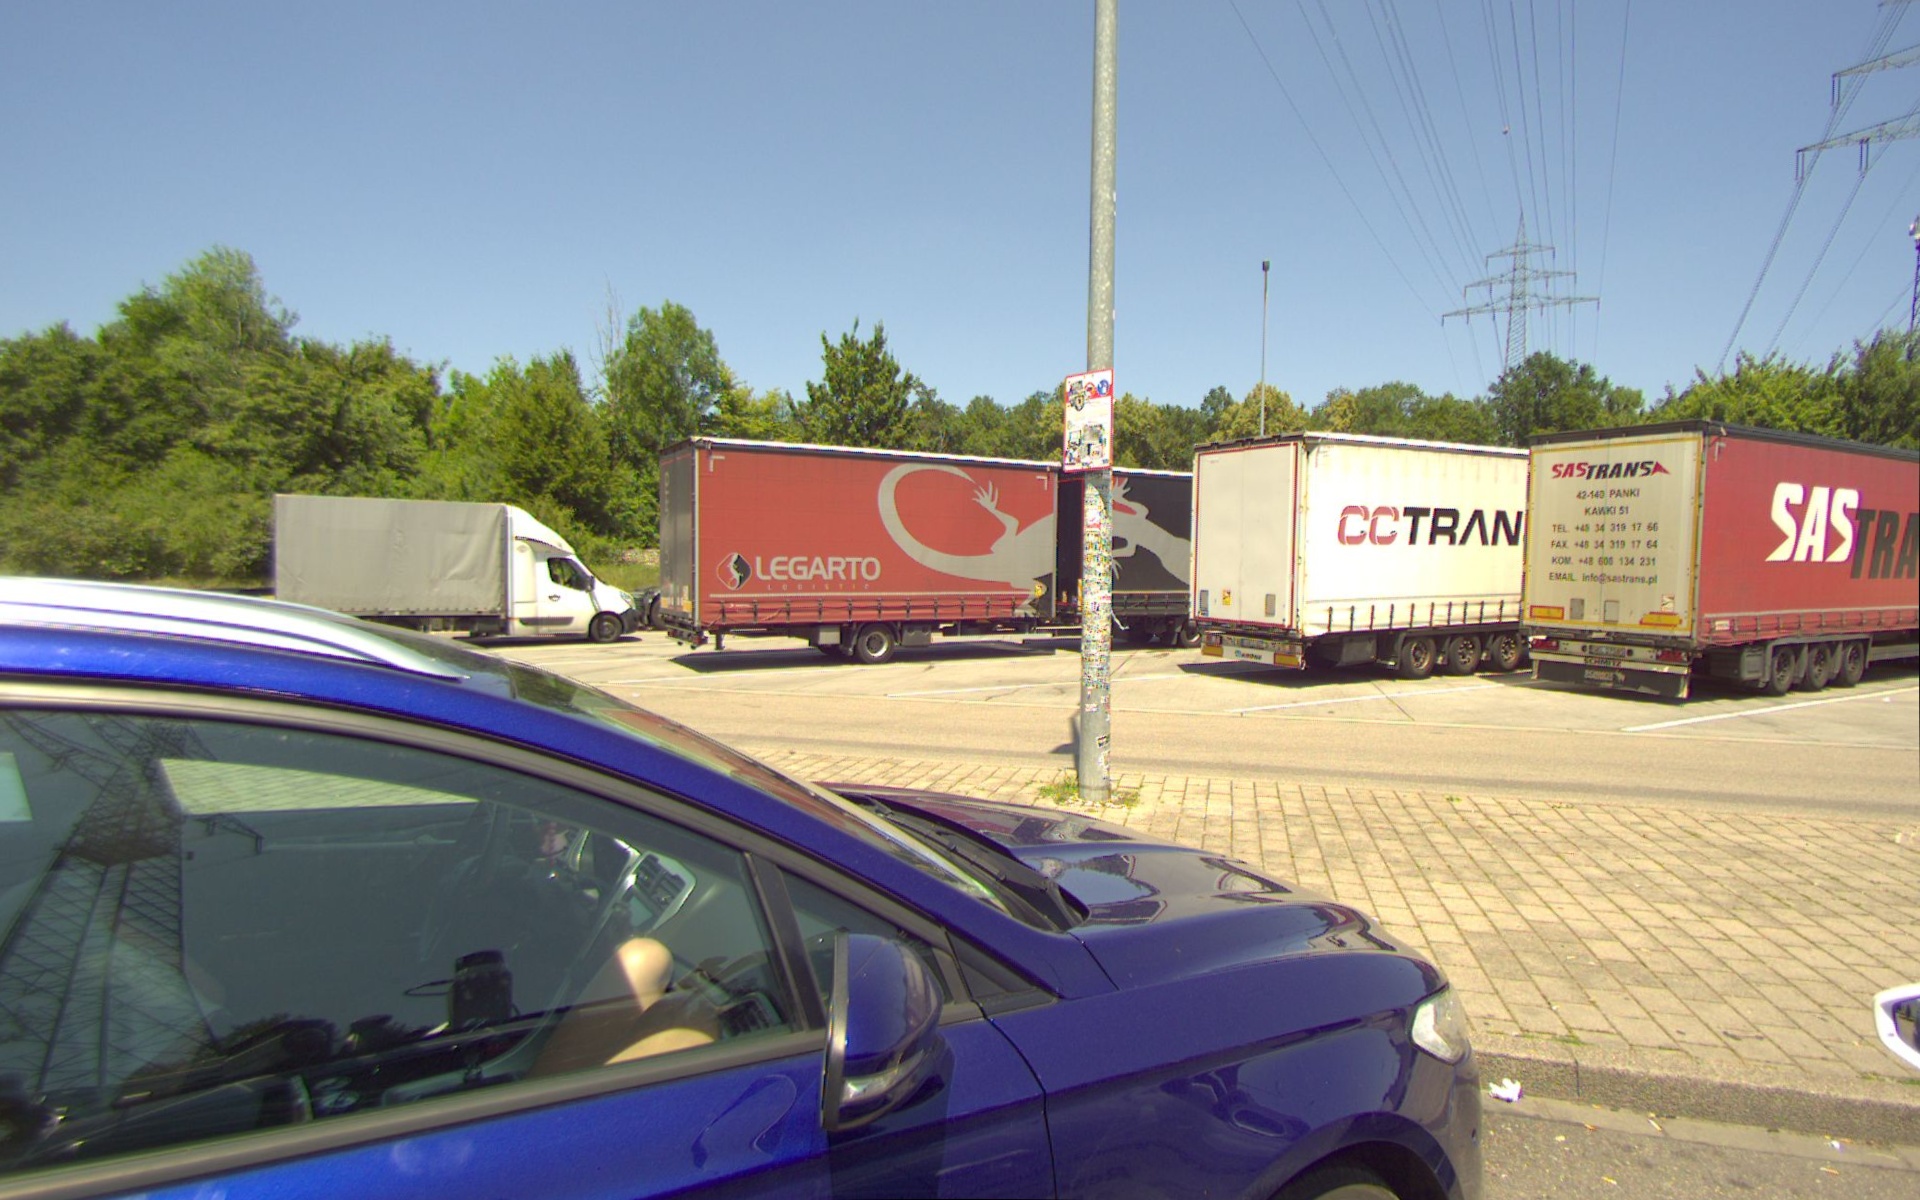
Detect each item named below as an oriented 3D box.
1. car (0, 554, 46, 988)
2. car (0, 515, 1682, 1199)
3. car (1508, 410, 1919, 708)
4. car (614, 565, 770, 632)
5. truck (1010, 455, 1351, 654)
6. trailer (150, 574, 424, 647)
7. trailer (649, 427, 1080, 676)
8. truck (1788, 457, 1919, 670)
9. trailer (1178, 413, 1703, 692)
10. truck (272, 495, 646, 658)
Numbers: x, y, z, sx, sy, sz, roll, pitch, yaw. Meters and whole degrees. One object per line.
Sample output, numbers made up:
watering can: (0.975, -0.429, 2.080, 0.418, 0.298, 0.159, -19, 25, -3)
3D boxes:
car: (-4.608, 0.557, 2.120, 3.700, 1.432, 1.595, 0, 0, -32)
car: (-0.982, 0.671, 1.469, 4.380, 1.464, 1.771, 0, 0, -32)
car: (15.220, -0.691, 18.458, 12.777, 4.169, 2.683, -1, 3, -30)
car: (-7.601, -0.044, 28.520, 3.953, 1.773, 1.902, 0, 0, -30)
truck: (5.606, -1.075, 24.832, 8.683, 4.248, 2.800, -1, 2, -30)
trailer: (-15.946, 0.245, 24.184, 5.332, 1.617, 1.585, 0, 0, -30)
trailer: (-1.740, -0.927, 20.509, 8.389, 4.248, 2.800, -1, 2, -30)
truck: (21.145, -0.771, 21.869, 6.163, 4.169, 2.683, -1, 3, -30)
trailer: (10.115, -0.880, 20.072, 12.786, 4.325, 2.800, -1, 2, -31)
truck: (-11.111, -0.582, 22.878, 7.219, 3.277, 2.308, -2, 3, -29)
